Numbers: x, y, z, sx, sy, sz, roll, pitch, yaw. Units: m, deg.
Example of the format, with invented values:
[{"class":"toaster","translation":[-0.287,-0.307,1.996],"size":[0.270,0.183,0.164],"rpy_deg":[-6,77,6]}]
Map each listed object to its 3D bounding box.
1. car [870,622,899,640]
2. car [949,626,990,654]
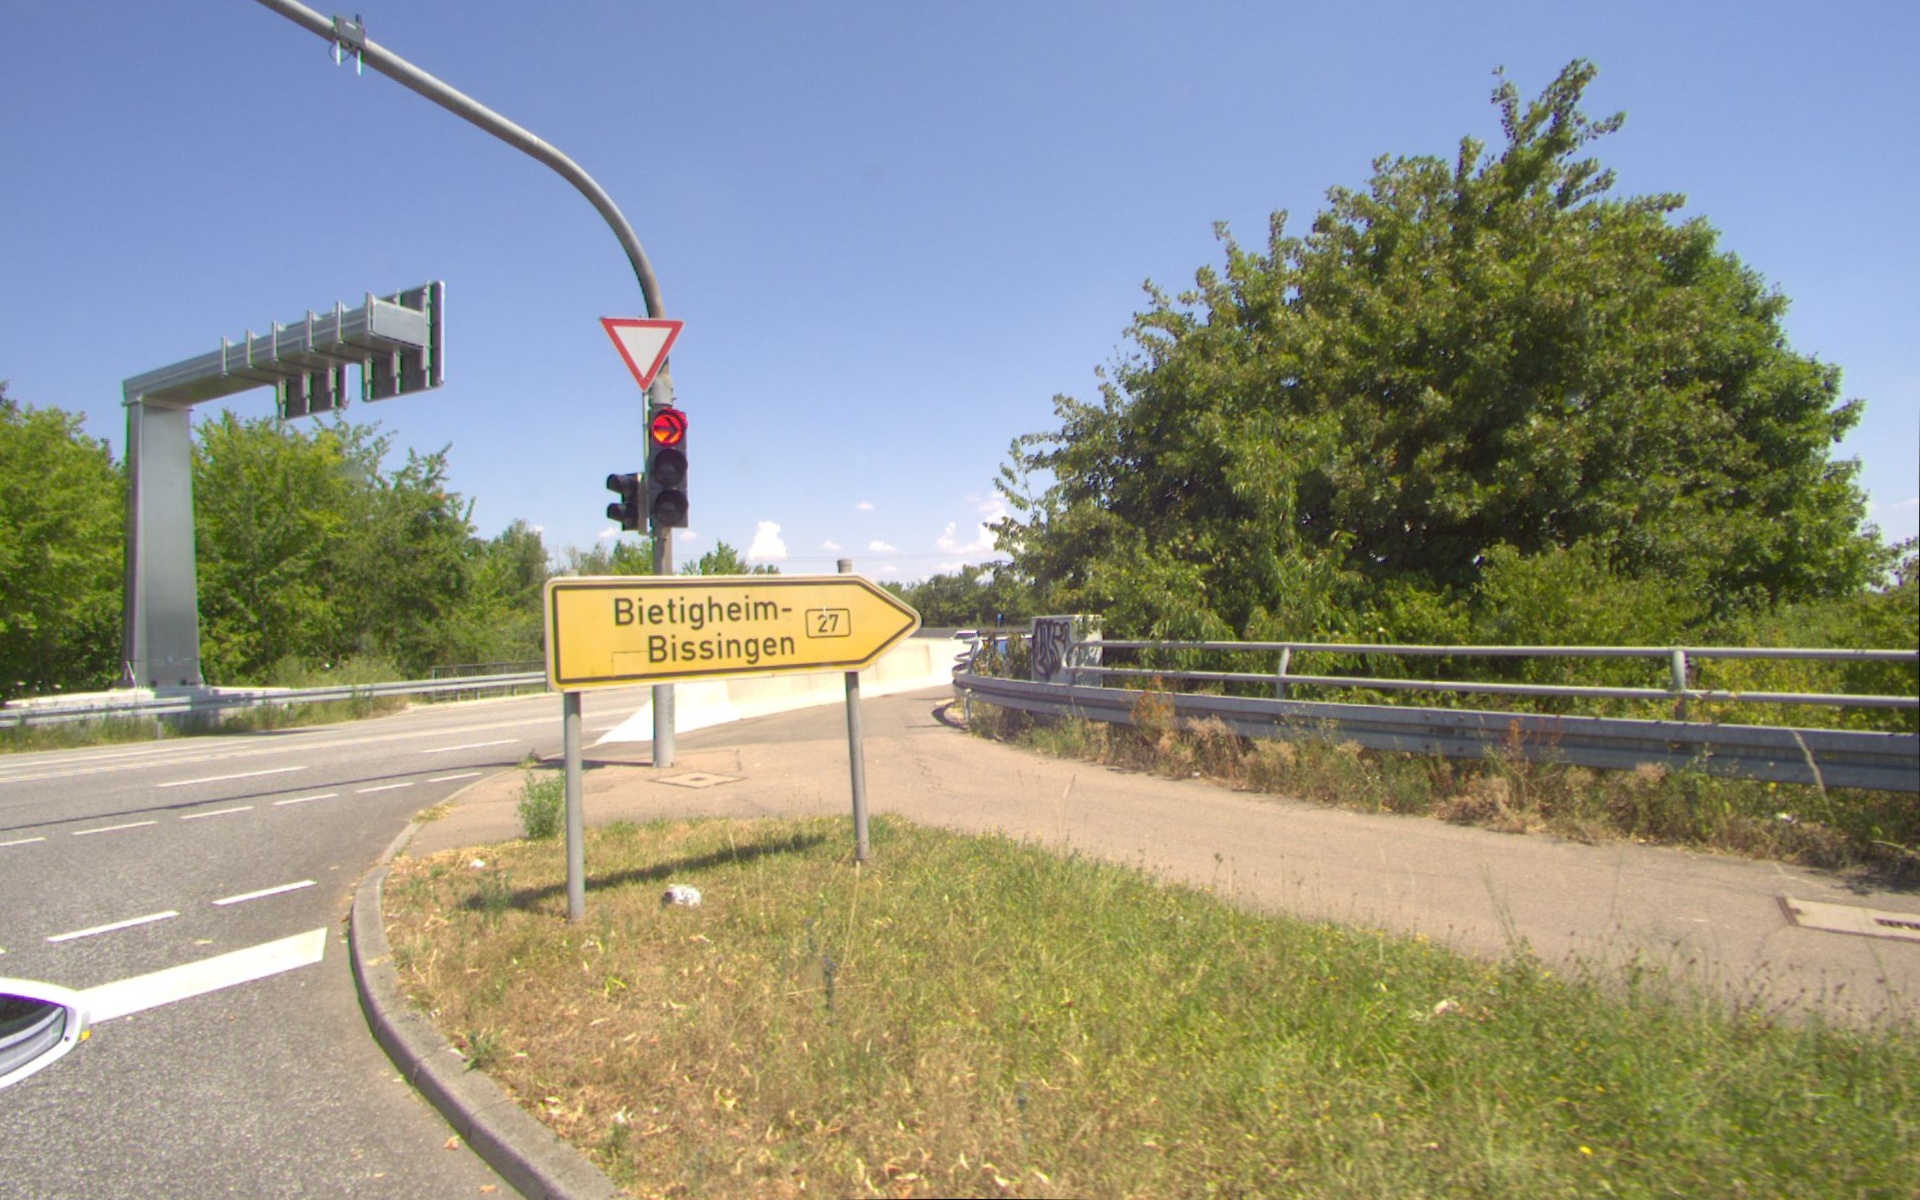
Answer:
[{"class":"car","translation":[-7.777,3.218,102.735],"size":[1.872,1.653,4.267],"rpy_deg":[-4,0,-19]},{"class":"car","translation":[0.576,2.278,57.174],"size":[1.616,1.412,3.990],"rpy_deg":[-4,-3,11]}]
